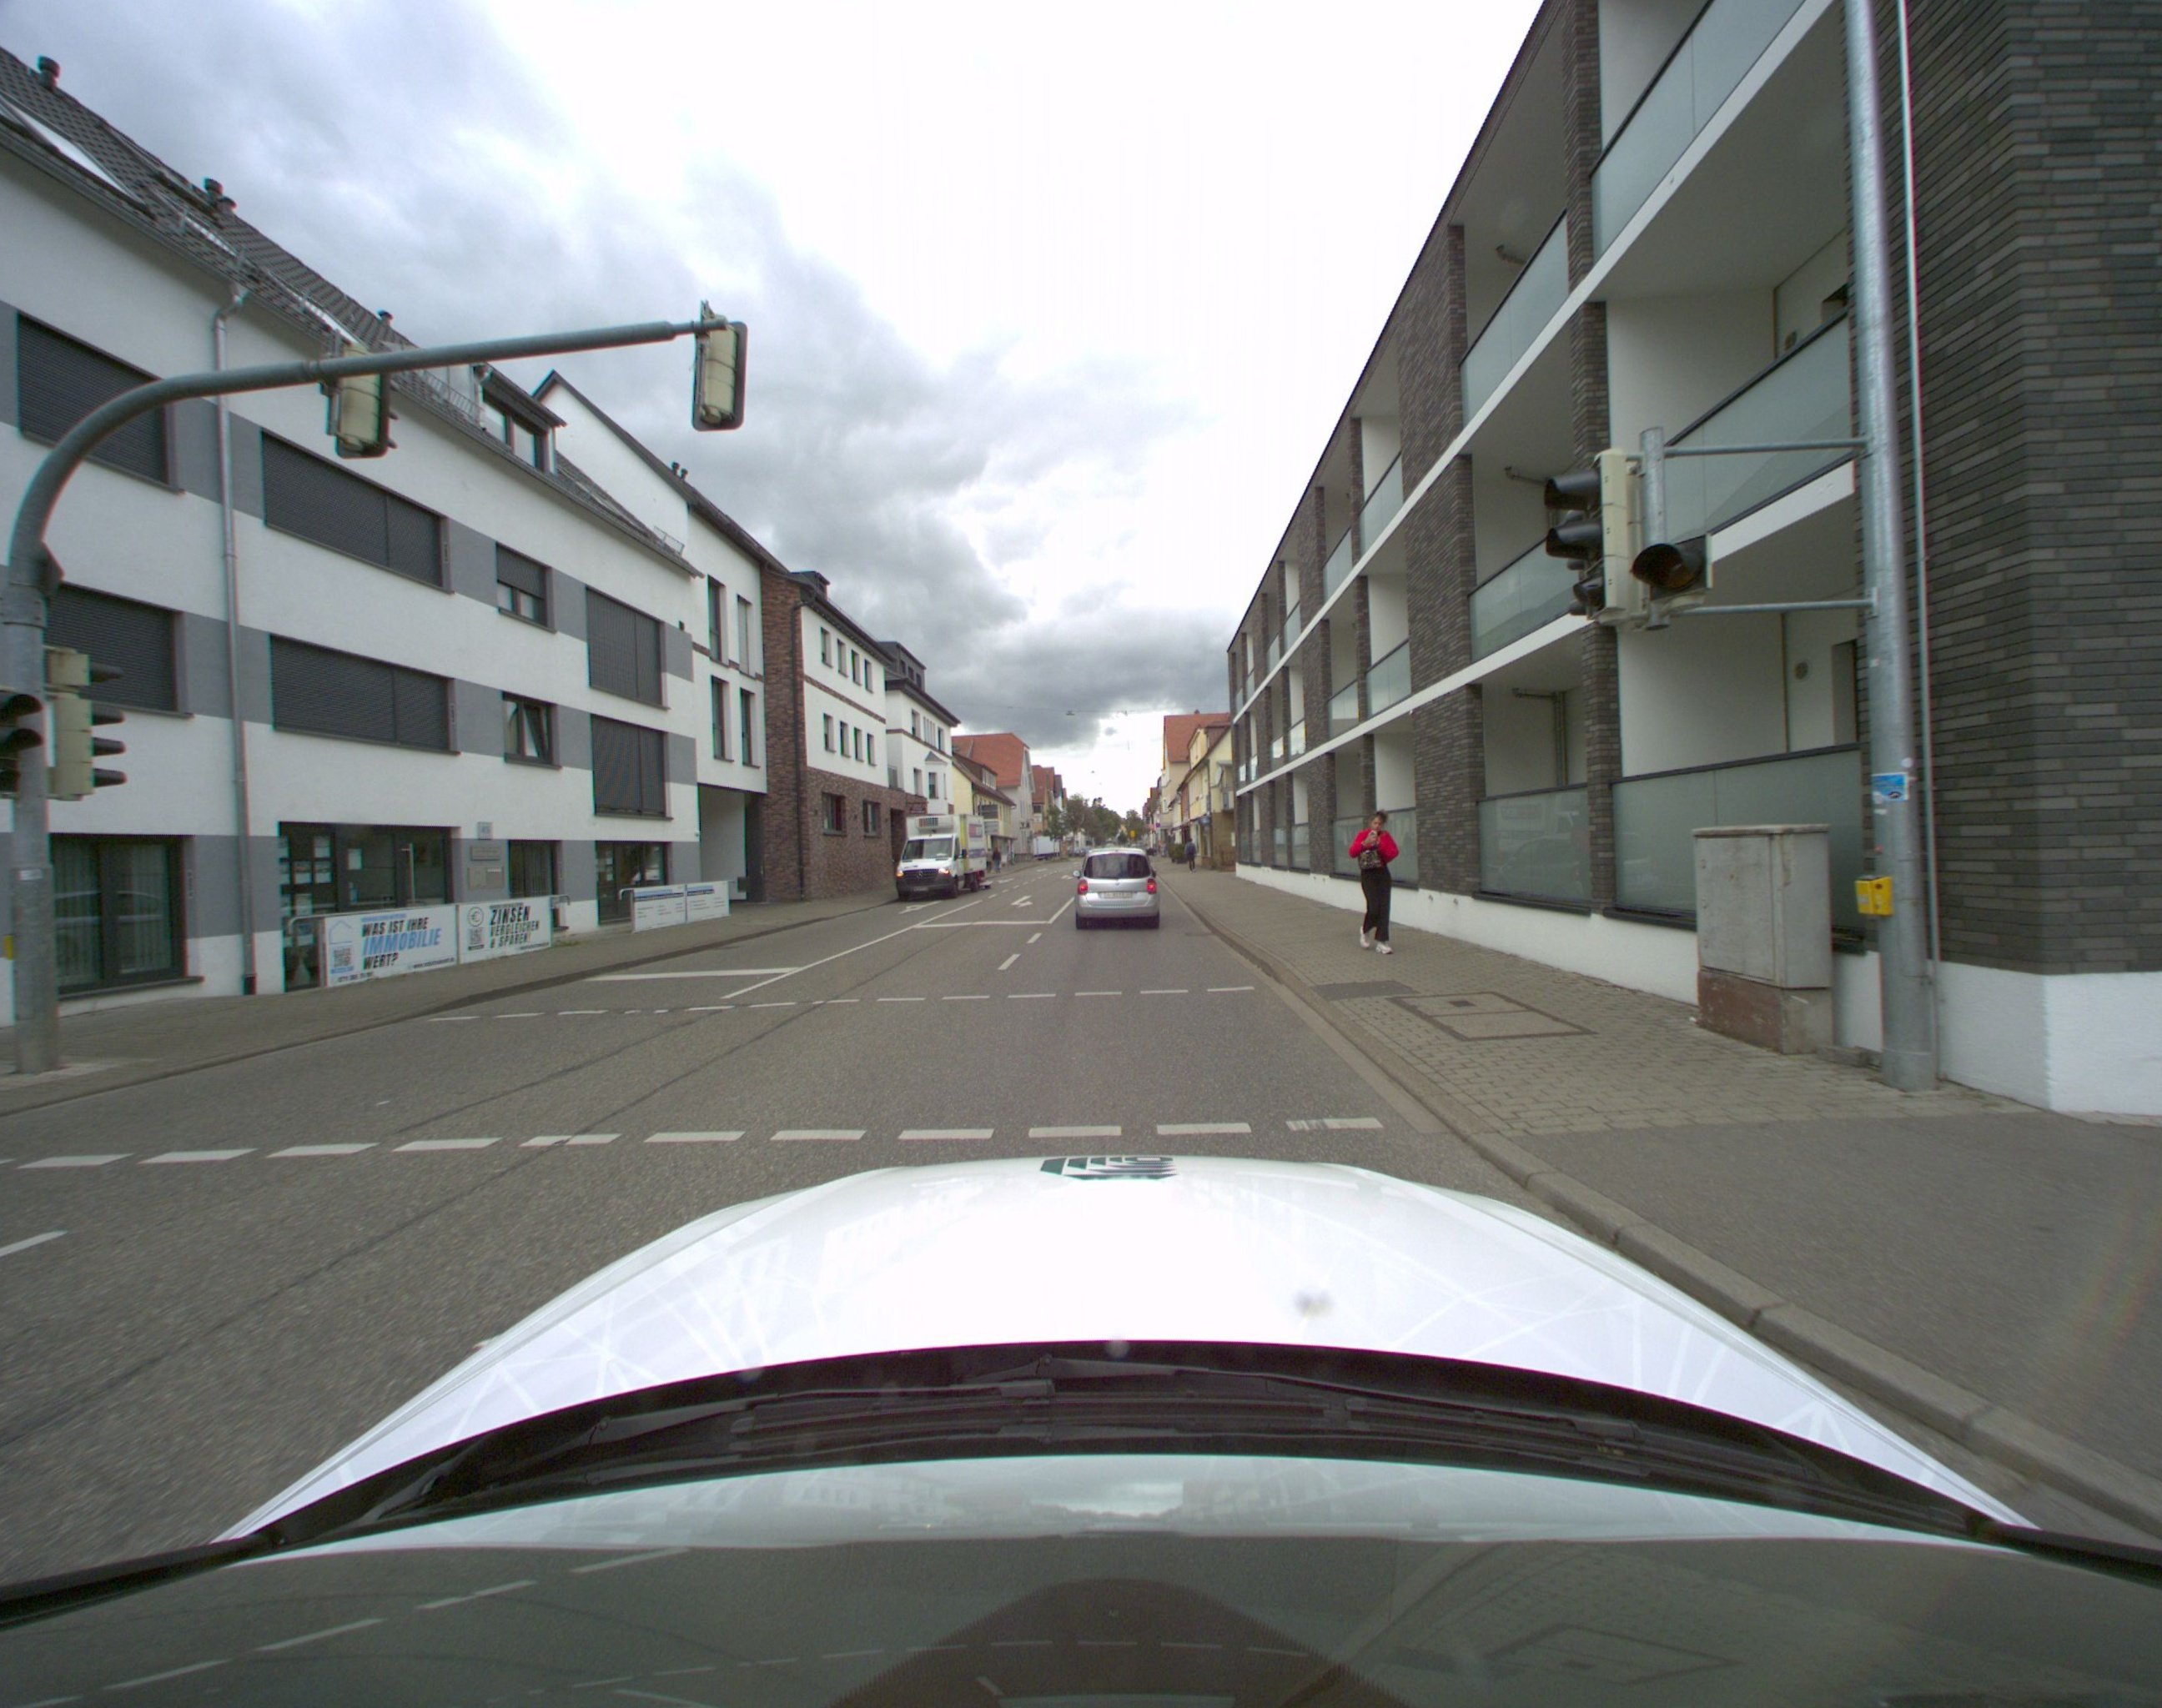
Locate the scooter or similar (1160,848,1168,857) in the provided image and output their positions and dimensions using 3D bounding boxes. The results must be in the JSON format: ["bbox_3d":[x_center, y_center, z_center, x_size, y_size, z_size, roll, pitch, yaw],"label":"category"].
[{"bbox_3d":[8.681,-0.160,85.175,0.677,0.833,0.823,-5,0,3],"label":"scooter or similar"}]

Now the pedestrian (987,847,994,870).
[{"bbox_3d":[-5.963,0.306,53.665,0.424,1.525,0.554,0,0,3],"label":"pedestrian"}]

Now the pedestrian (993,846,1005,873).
[{"bbox_3d":[-5.384,0.341,53.344,0.659,1.757,0.688,0,0,3],"label":"pedestrian"}]

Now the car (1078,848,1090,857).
[{"bbox_3d":[0.523,-0.274,144.563,1.805,1.354,4.004,-3,0,3],"label":"car"}]

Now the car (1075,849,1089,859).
[{"bbox_3d":[0.198,-0.006,122.965,1.805,1.354,4.004,-3,0,3],"label":"car"}]

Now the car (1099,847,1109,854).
[{"bbox_3d":[4.839,-0.654,170.162,1.805,1.354,3.860,-3,0,3],"label":"car"}]

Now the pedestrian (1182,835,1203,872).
[{"bbox_3d":[5.691,-0.044,41.602,0.886,1.786,0.785,-5,0,3],"label":"pedestrian"}]

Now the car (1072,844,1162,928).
[{"bbox_3d":[0.764,0.599,17.342,1.700,1.579,4.002,0,0,2],"label":"car"}]

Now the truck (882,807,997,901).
[{"bbox_3d":[-5.093,-0.012,30.997,2.425,2.953,8.369,-3,0,2],"label":"truck"}]

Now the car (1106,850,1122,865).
[{"bbox_3d":[3.562,0.376,88.126,1.700,1.579,4.002,0,0,2],"label":"car"}]

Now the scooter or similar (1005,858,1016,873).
[{"bbox_3d":[-6.386,1.064,74.338,0.573,1.269,2.551,-3,0,3],"label":"scooter or similar"}]

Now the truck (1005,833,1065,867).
[{"bbox_3d":[-5.702,-0.498,101.014,6.876,3.857,2.576,-3,0,-34],"label":"truck"}]

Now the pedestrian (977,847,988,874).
[{"bbox_3d":[-6.516,0.418,53.789,0.577,1.757,0.688,0,0,3],"label":"pedestrian"}]

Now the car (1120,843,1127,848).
[{"bbox_3d":[12.738,-2.530,244.562,1.805,1.354,4.004,-3,0,3],"label":"car"}]

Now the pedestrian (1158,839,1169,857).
[{"bbox_3d":[8.552,-0.614,84.379,0.886,1.786,0.785,-5,0,3],"label":"pedestrian"}]

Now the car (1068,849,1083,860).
[{"bbox_3d":[-0.804,0.065,117.870,1.805,1.354,4.004,-3,0,3],"label":"car"}]

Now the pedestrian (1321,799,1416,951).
[{"bbox_3d":[3.634,0.255,10.373,0.804,1.786,0.862,-5,0,3],"label":"pedestrian"}]

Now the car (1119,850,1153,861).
[{"bbox_3d":[6.526,0.145,96.092,3.740,1.314,1.511,0,0,-18],"label":"car"}]
